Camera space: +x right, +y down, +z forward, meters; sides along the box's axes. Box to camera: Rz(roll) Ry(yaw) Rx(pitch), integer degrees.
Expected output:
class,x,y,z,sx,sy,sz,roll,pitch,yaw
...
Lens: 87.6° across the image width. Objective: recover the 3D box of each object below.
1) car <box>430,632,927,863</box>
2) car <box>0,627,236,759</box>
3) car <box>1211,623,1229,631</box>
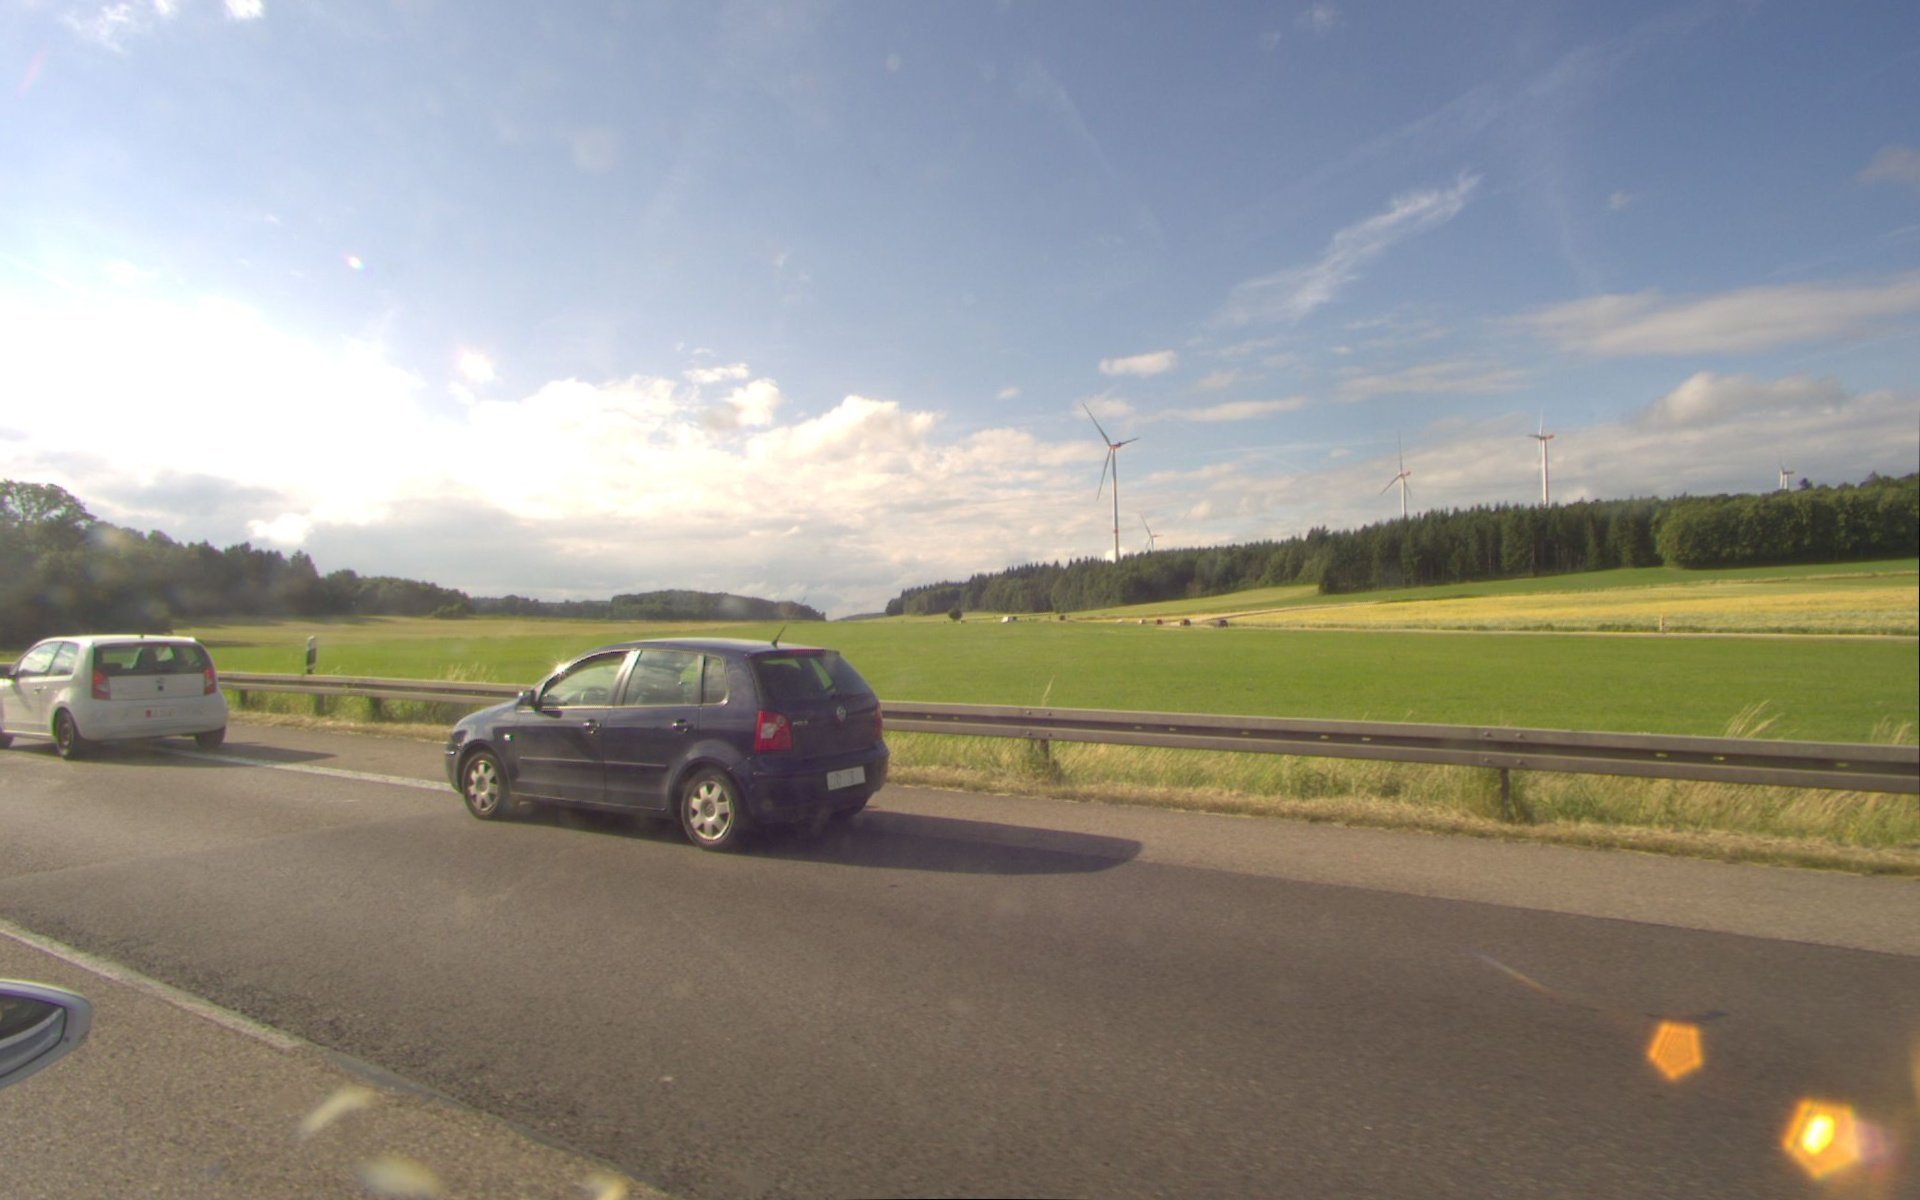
class,x,y,z,sx,sy,sz,roll,pitch,yaw
car,-2.289,1.005,8.003,3.717,1.464,1.709,-1,-2,29
car,-11.208,1.124,13.134,3.327,1.514,1.547,0,-1,30
car,48.733,5.048,187.793,1.803,1.505,4.221,0,-2,-6
